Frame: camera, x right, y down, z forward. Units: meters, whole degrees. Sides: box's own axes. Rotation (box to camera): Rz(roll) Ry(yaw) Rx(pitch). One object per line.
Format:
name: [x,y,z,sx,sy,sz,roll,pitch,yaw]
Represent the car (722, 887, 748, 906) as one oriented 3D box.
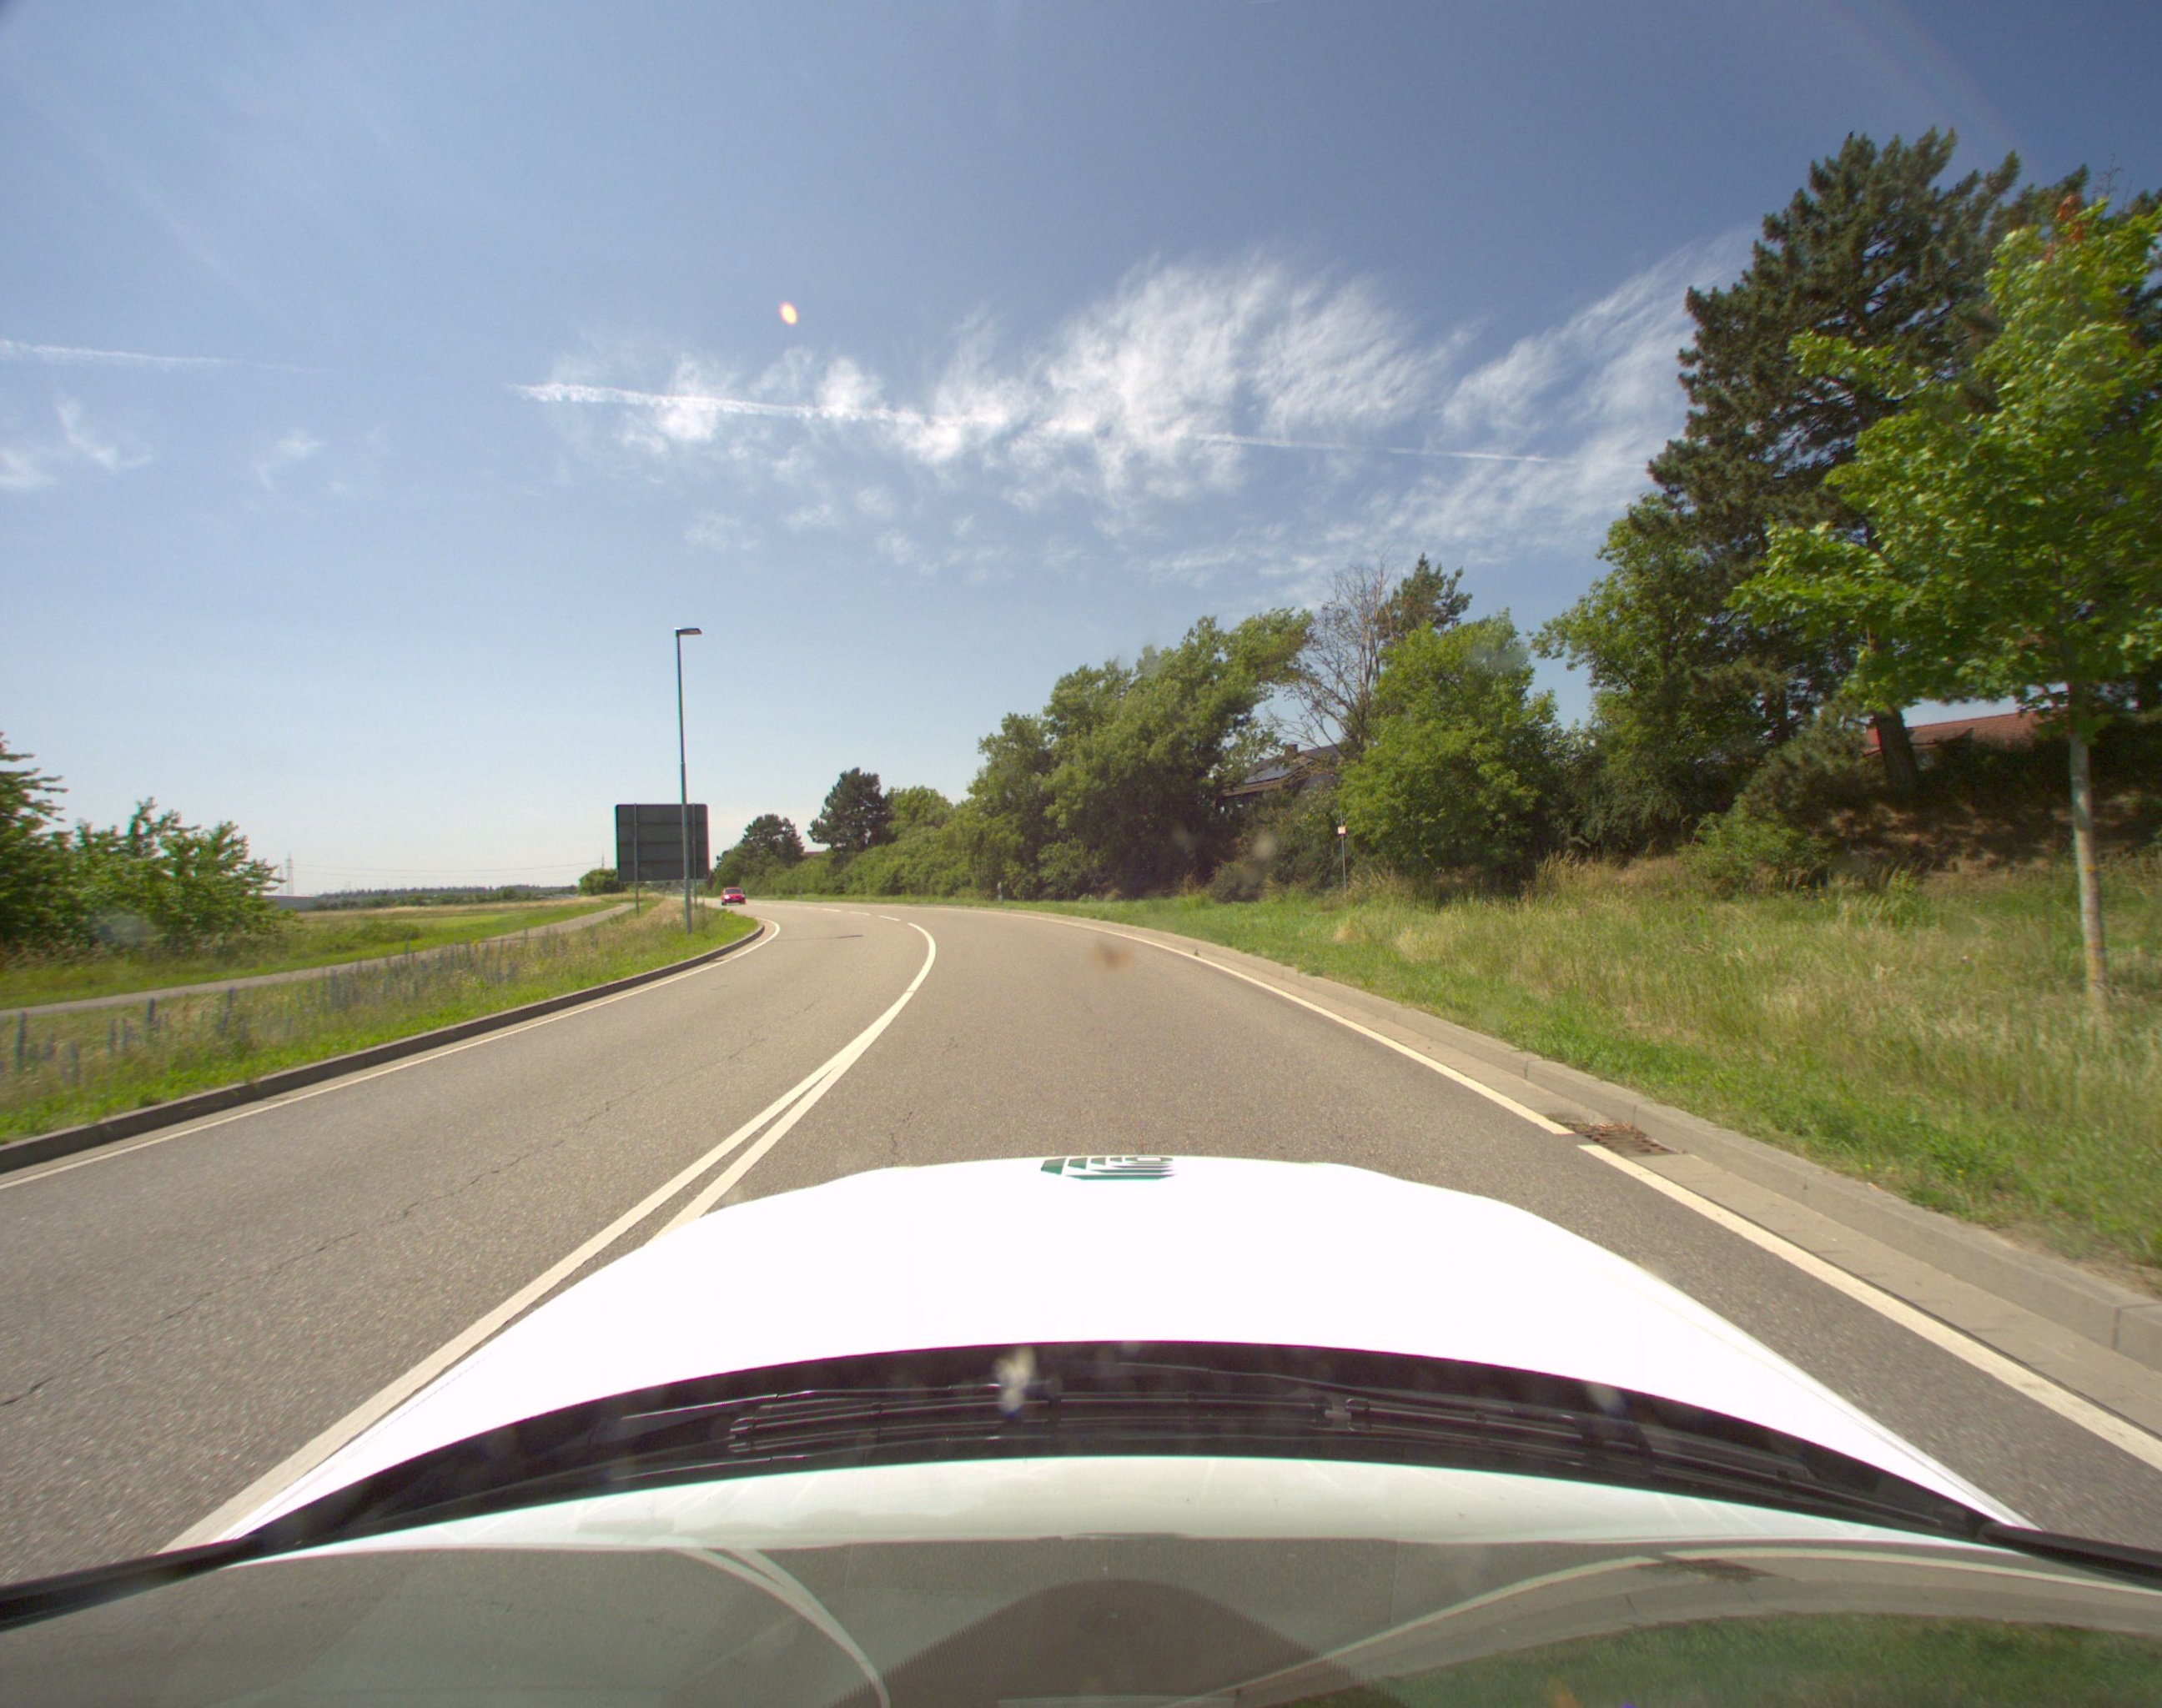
car: [-28.999,3.538,68.157,1.665,1.433,3.702,-3,-1,-28]
